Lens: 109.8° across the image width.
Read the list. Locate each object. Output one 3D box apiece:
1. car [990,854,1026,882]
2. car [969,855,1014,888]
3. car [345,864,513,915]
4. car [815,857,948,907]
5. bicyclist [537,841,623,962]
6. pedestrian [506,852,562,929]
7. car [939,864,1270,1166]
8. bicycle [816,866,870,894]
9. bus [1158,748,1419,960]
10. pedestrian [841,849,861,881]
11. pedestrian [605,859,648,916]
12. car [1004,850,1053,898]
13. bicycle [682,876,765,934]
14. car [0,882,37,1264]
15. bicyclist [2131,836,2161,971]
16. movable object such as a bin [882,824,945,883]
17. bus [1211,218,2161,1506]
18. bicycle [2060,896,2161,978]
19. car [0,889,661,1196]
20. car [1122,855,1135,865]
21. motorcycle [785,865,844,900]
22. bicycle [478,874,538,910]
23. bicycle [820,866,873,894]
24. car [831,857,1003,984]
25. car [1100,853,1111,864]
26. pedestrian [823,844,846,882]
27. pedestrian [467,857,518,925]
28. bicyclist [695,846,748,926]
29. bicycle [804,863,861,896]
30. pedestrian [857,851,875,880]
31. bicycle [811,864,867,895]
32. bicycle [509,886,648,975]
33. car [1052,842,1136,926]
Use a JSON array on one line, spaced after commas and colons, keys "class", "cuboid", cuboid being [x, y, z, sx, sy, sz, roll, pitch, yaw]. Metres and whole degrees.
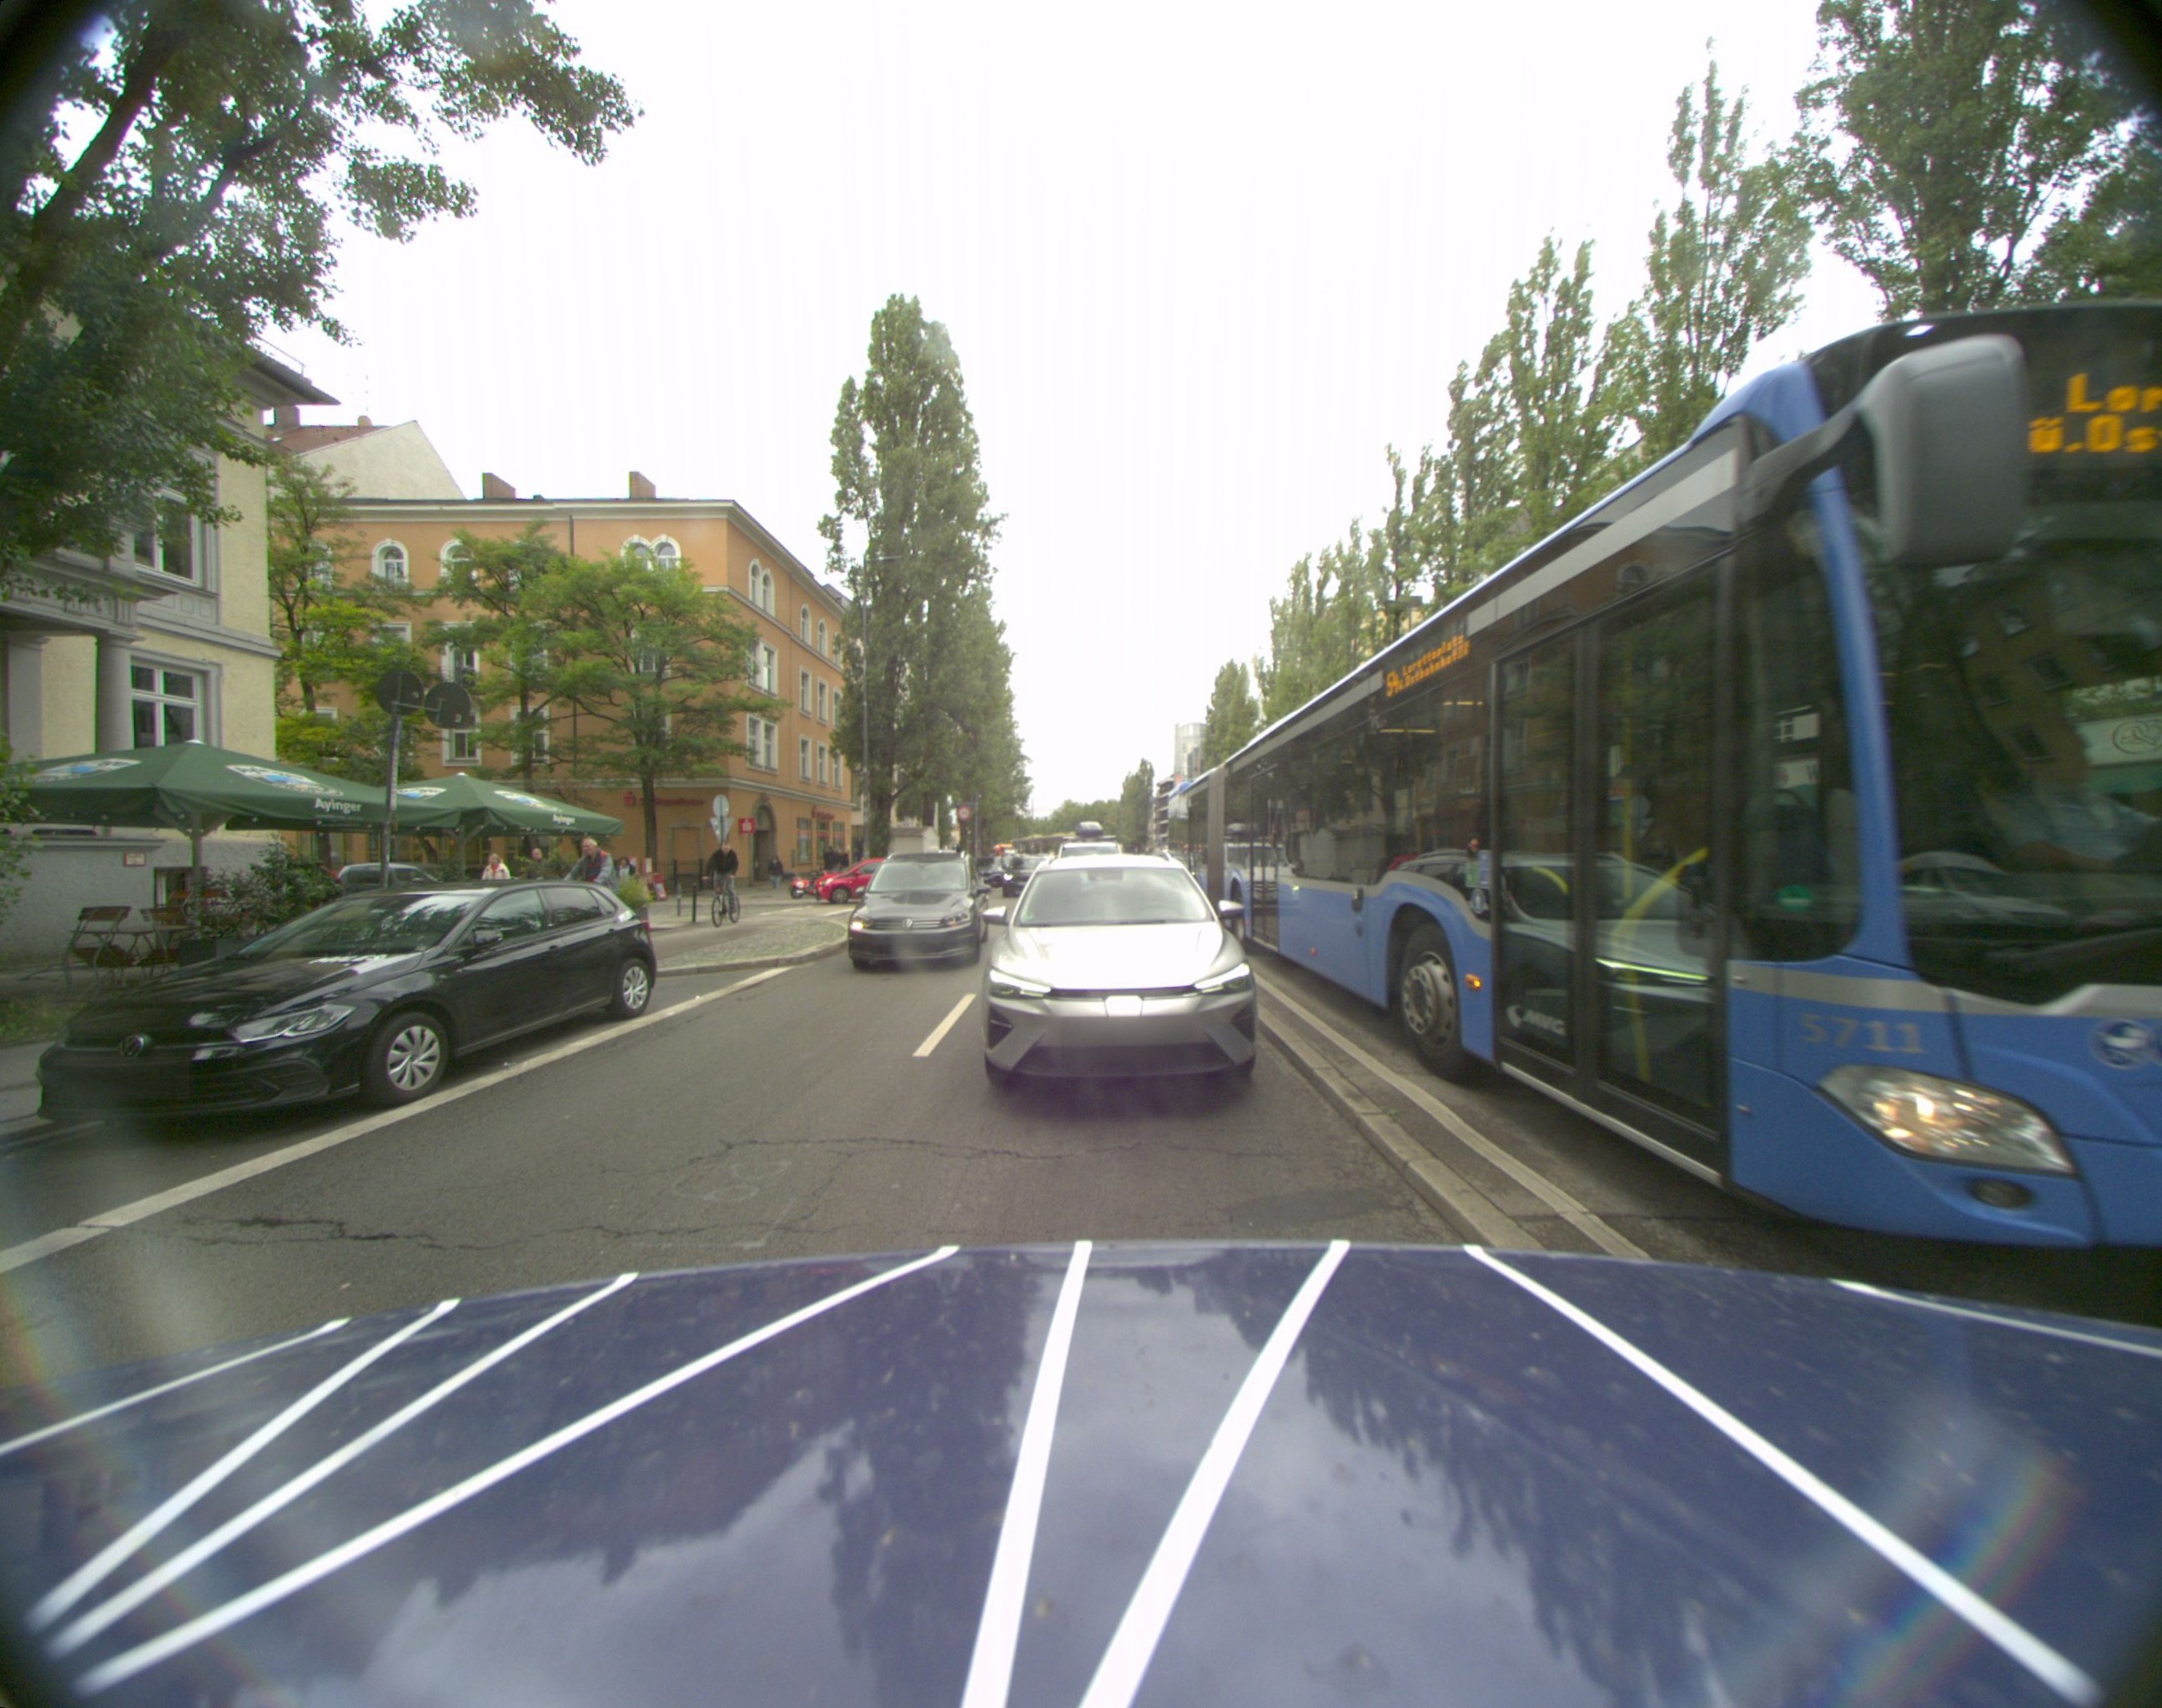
[{"class": "car", "cuboid": [-4.478, 0.848, 47.135, 1.789, 1.604, 4.498, -2, 0, 0]}, {"class": "car", "cuboid": [-4.600, 0.851, 39.701, 1.789, 1.544, 4.498, -2, 0, 0]}, {"class": "car", "cuboid": [-22.250, 1.188, 26.054, 3.997, 1.511, 1.906, -2, 1, -1]}, {"class": "car", "cuboid": [-6.601, 0.884, 25.185, 4.008, 1.425, 1.614, -2, 0, -26]}, {"class": "bicyclist", "cuboid": [-7.512, 0.694, 11.423, 0.831, 1.747, 0.667, -1, 1, -7]}, {"class": "pedestrian", "cuboid": [-12.963, 0.854, 18.021, 0.699, 1.756, 0.732, -2, 1, 4]}, {"class": "car", "cuboid": [0.135, 0.903, 6.142, 1.742, 1.510, 4.033, -2, 0, 0]}, {"class": "bicycle", "cuboid": [-9.400, 1.019, 30.014, 1.945, 1.082, 0.561, -1, 1, 1]}, {"class": "bus", "cuboid": [3.405, -0.017, 15.608, 2.690, 2.932, 10.052, 0, 0, 0]}, {"class": "pedestrian", "cuboid": [-11.977, 0.560, 39.547, 0.746, 1.651, 0.771, -2, 1, 1]}, {"class": "pedestrian", "cuboid": [-12.900, 0.938, 21.590, 0.745, 1.562, 0.664, -2, 1, 3]}, {"class": "car", "cuboid": [-2.024, 0.750, 30.181, 1.706, 1.683, 4.002, -3, 0, -2]}, {"class": "bicycle", "cuboid": [-7.729, 1.067, 16.529, 0.737, 1.113, 2.102, -1, 0, 2]}, {"class": "car", "cuboid": [-5.522, 0.978, 1.113, 1.808, 1.628, 4.446, -2, 0, -1]}, {"class": "bicyclist", "cuboid": [13.841, 0.615, 9.382, 0.606, 1.695, 0.816, -1, 1, 2]}, {"class": "movable object such as a bin", "cuboid": [-9.392, -0.036, 43.074, 2.445, 3.119, 4.543, 1, 0, 1]}, {"class": "bus", "cuboid": [3.336, 0.007, 6.753, 2.696, 2.932, 10.052, 0, 0, 0]}, {"class": "bicycle", "cuboid": [13.843, 1.068, 9.432, 0.613, 0.963, 2.174, -1, 0, 1]}, {"class": "car", "cuboid": [-5.236, 1.088, 5.981, 1.698, 1.408, 3.950, -1, 0, -1]}, {"class": "car", "cuboid": [7.467, 0.947, 119.842, 1.718, 1.532, 4.076, 1, 0, 1]}, {"class": "motorcycle", "cuboid": [-9.696, 1.016, 27.678, 1.963, 1.214, 0.514, -1, 1, -25]}, {"class": "bicycle", "cuboid": [-22.653, 1.499, 30.043, 1.945, 1.364, 0.561, -2, 1, 1]}, {"class": "bicycle", "cuboid": [-9.462, 1.043, 30.678, 1.945, 1.069, 0.561, -1, 1, 1]}, {"class": "car", "cuboid": [-2.355, 0.872, 12.031, 1.882, 1.582, 4.191, -2, 0, -2]}, {"class": "car", "cuboid": [4.384, 0.747, 136.513, 1.998, 2.002, 4.000, 0, 0, 1]}, {"class": "pedestrian", "cuboid": [-12.741, 0.462, 39.240, 0.839, 1.938, 0.802, -2, 1, 2]}, {"class": "pedestrian", "cuboid": [-14.057, 0.874, 18.162, 0.699, 1.562, 0.575, -2, 1, 3]}, {"class": "bicyclist", "cuboid": [-7.742, 0.680, 16.377, 0.741, 1.677, 0.749, -1, 1, 2]}, {"class": "bicycle", "cuboid": [-9.348, 0.961, 28.640, 1.945, 1.232, 0.561, -1, 1, 1]}, {"class": "pedestrian", "cuboid": [-11.809, 0.606, 41.721, 0.745, 1.562, 0.614, -2, 1, 3]}, {"class": "bicycle", "cuboid": [-9.309, 0.980, 29.283, 1.945, 1.130, 0.561, -1, 1, 1]}, {"class": "bicycle", "cuboid": [-7.505, 1.090, 11.504, 0.887, 1.113, 2.100, -1, 0, -6]}, {"class": "car", "cuboid": [0.295, 0.630, 19.634, 1.839, 1.831, 5.129, -2, 1, 0]}]
